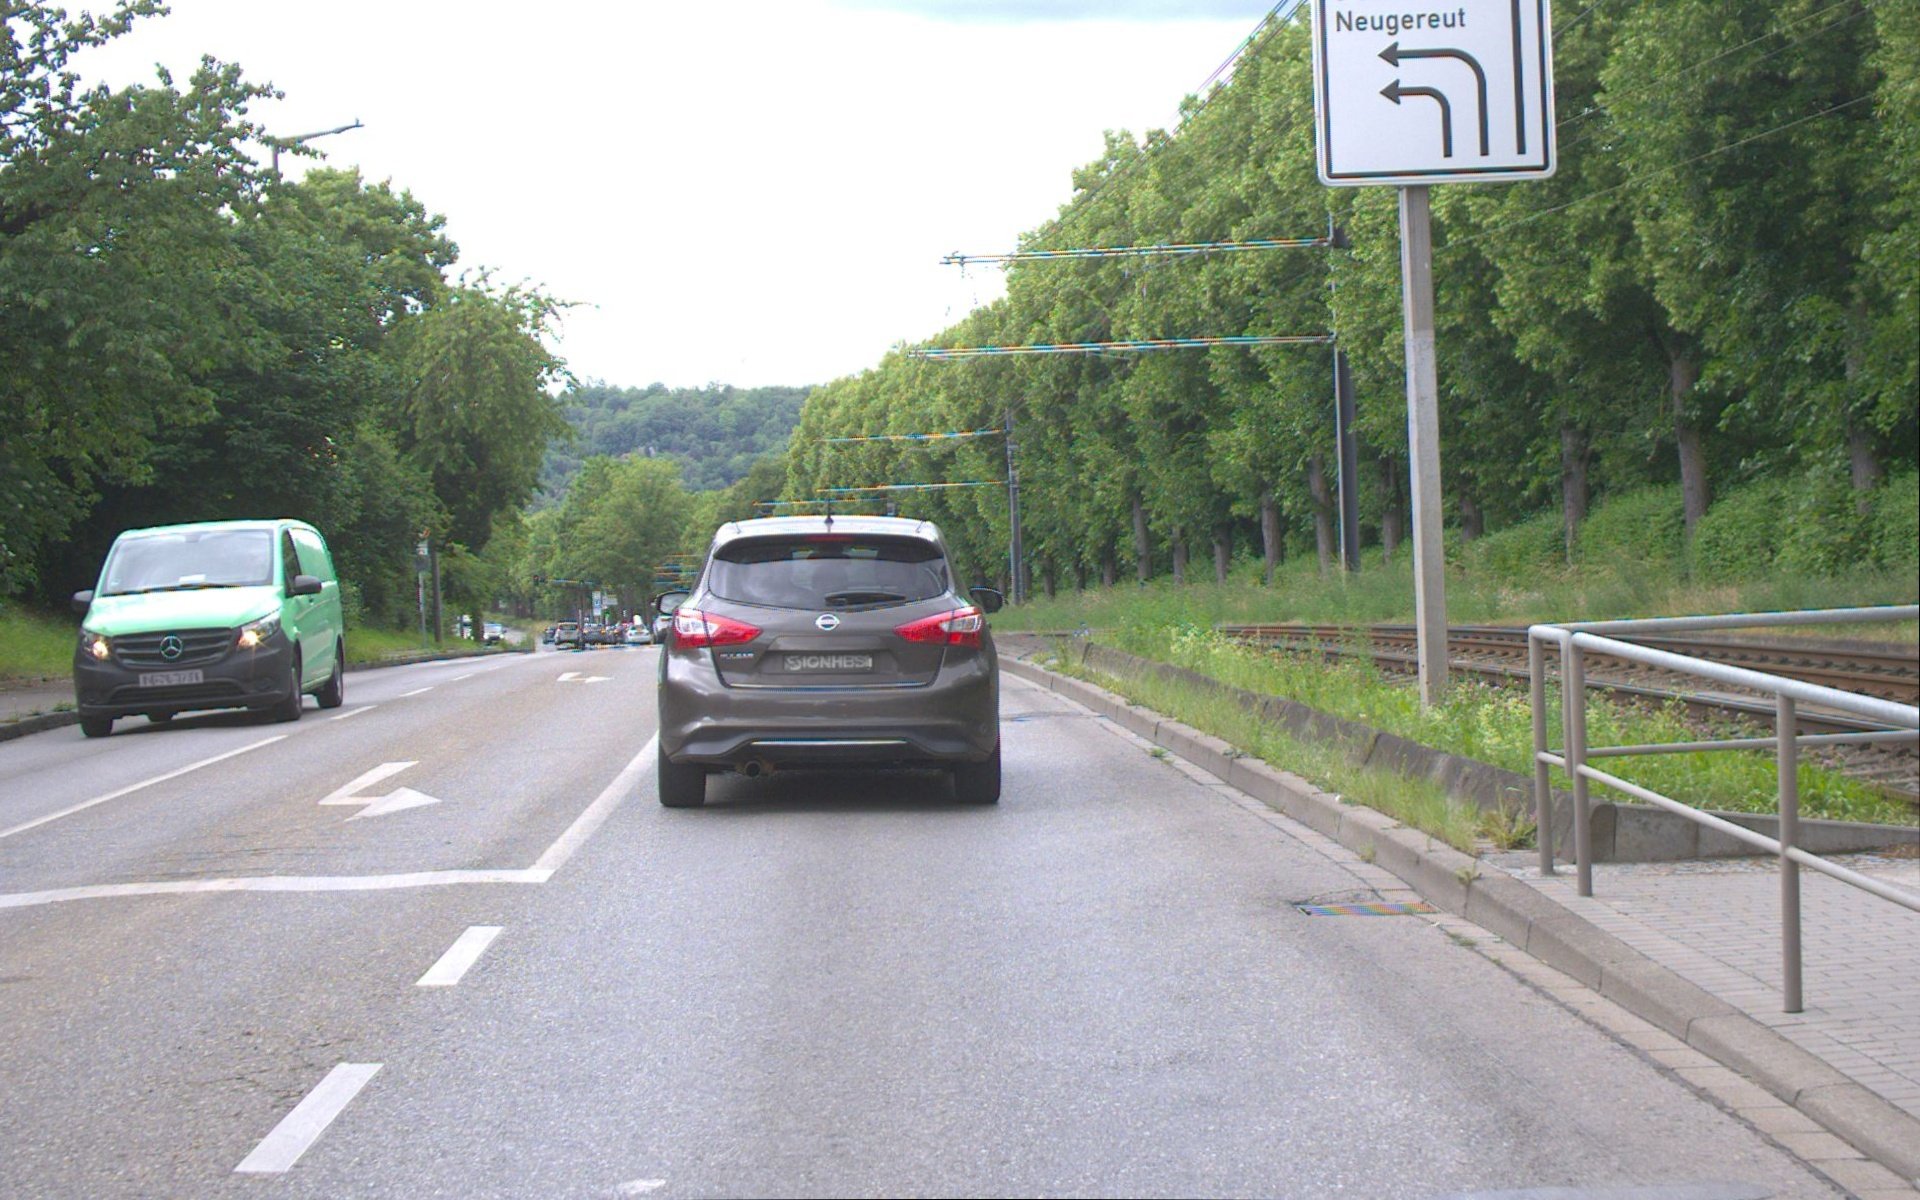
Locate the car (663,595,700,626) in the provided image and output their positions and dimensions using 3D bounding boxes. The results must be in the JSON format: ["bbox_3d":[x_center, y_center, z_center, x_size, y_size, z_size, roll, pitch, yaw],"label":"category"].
[{"bbox_3d":[-14.159,0.535,174.674,1.794,1.505,4.000,-1,-1,-5],"label":"car"}]

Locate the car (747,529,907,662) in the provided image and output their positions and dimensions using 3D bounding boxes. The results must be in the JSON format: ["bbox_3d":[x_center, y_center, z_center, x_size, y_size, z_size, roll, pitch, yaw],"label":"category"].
[{"bbox_3d":[-1.580,-0.020,39.788,1.699,1.439,4.000,-1,-1,-4],"label":"car"}]

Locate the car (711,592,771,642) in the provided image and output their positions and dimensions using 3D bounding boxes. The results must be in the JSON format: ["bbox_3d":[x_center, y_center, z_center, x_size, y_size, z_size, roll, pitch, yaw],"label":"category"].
[{"bbox_3d":[-6.711,0.540,105.089,1.699,1.439,4.000,-1,-1,-5],"label":"car"}]

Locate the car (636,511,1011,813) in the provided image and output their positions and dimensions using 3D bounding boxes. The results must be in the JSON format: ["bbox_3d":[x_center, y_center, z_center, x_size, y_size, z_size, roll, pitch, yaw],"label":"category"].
[{"bbox_3d":[-0.722,0.261,18.980,1.850,1.488,4.001,0,1,-1],"label":"car"}]

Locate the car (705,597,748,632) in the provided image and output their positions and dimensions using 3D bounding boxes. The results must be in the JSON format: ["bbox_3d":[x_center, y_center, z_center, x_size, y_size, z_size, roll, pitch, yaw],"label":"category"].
[{"bbox_3d":[-10.479,0.649,154.100,1.794,1.505,4.000,-1,-1,-5],"label":"car"}]

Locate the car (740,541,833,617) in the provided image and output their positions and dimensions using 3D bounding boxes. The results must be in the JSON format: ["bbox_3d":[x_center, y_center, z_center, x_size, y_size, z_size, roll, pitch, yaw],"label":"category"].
[{"bbox_3d":[-3.540,-0.403,69.587,1.699,1.439,4.000,-1,-1,-5],"label":"car"}]

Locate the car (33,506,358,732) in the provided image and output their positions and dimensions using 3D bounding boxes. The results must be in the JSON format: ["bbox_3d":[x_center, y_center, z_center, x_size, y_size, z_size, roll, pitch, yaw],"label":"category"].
[{"bbox_3d":[-6.941,0.126,31.728,2.058,1.804,4.730,-4,1,-3],"label":"car"}]

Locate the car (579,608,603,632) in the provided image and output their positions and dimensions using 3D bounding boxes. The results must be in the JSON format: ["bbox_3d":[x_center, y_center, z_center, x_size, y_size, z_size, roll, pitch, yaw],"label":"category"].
[{"bbox_3d":[-27.637,1.489,257.717,1.699,1.708,4.000,-1,-1,-5],"label":"car"}]
